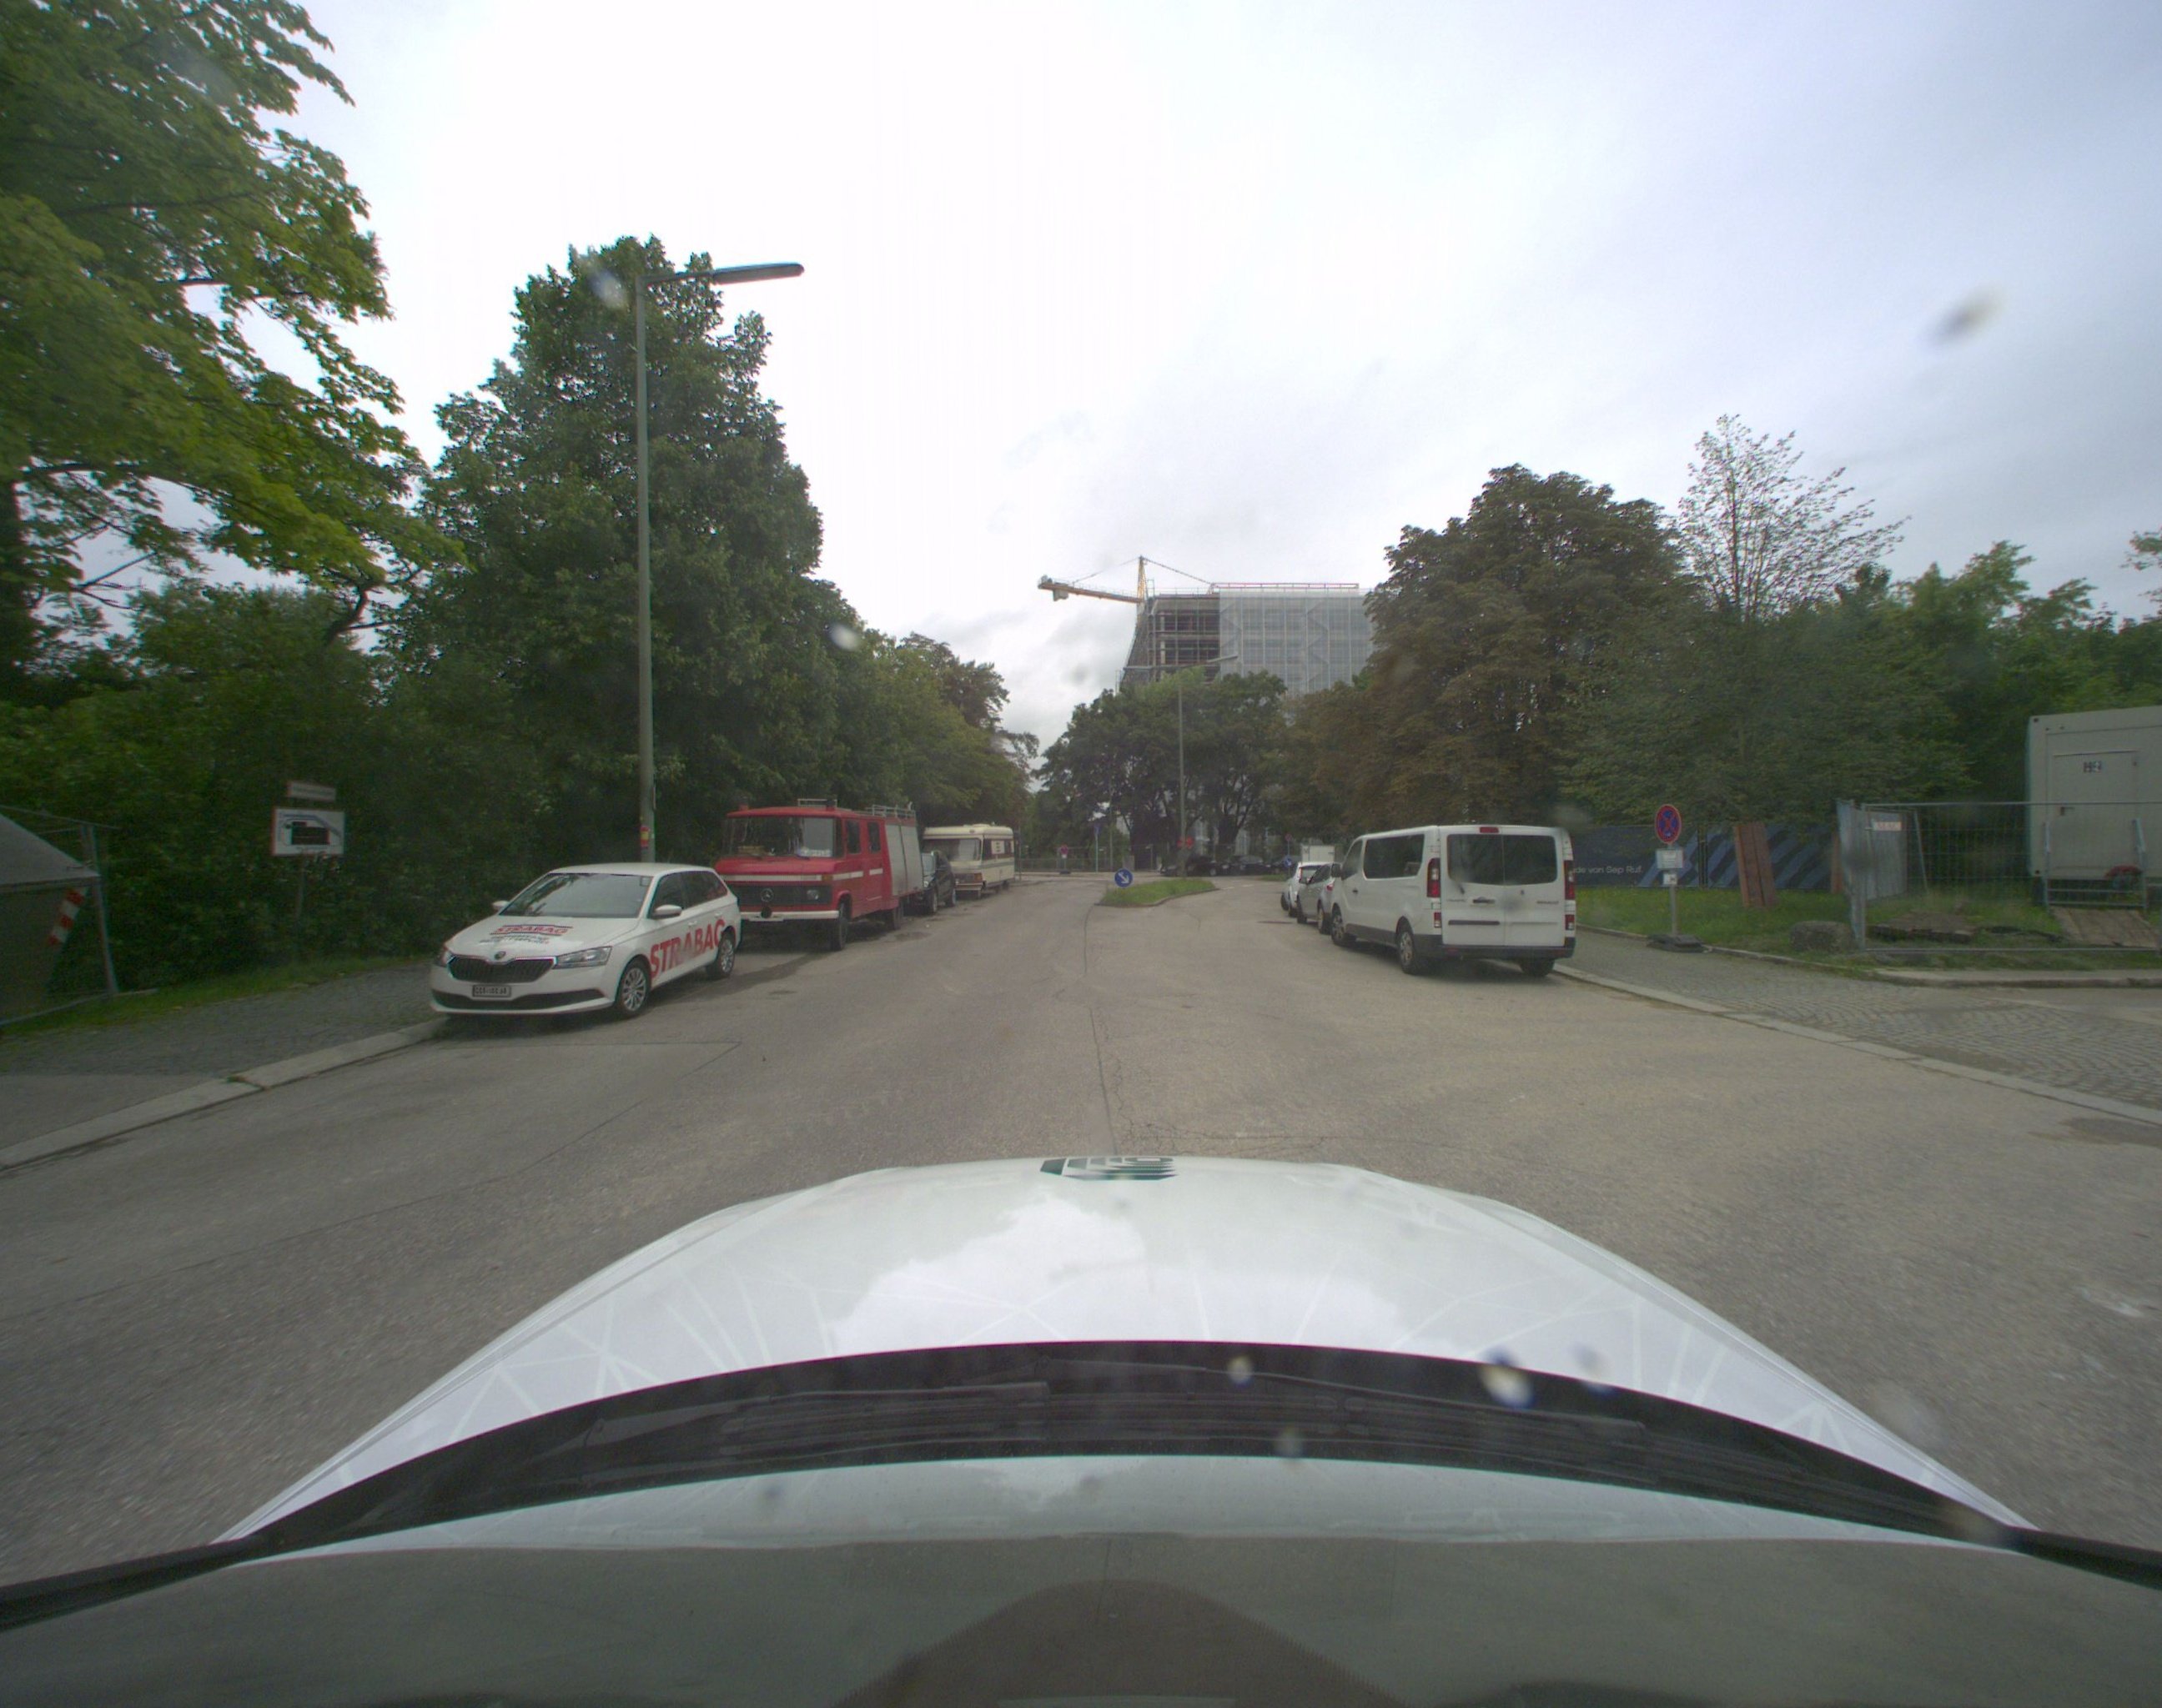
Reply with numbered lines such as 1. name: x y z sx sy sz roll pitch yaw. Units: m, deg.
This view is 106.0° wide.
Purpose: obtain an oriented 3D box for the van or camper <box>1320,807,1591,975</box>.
1. van or camper: 5.279 0.470 12.472 1.985 2.014 5.382 0 -1 4

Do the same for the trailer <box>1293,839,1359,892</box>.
1. trailer: 10.035 0.450 33.119 1.792 2.014 4.862 -1 -1 26

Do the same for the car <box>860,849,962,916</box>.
1. car: -4.552 0.697 22.432 1.770 1.649 4.461 -1 0 1

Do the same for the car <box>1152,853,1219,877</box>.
1. car: 6.997 0.718 54.568 4.052 1.432 1.983 0 2 -28

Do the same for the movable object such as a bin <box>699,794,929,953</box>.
1. movable object such as a bin: -4.735 0.308 15.760 2.095 2.458 6.191 -1 0 3

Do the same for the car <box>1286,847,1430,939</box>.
1. car: 5.802 0.756 17.651 1.984 1.728 4.456 0 -1 5

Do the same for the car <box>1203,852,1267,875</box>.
1. car: 10.687 0.659 56.523 4.010 1.541 1.982 0 0 -28

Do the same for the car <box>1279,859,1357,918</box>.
1. car: 6.621 0.896 23.101 1.755 1.486 4.234 -1 0 11

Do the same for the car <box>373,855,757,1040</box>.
1. car: -5.273 0.800 9.132 1.772 1.549 4.252 -1 0 -3

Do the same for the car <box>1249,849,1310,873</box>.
1. car: 14.463 0.492 59.201 4.010 1.706 1.982 0 -1 -28

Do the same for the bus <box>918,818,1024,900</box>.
1. bus: -3.873 0.163 29.881 2.302 2.699 5.748 -1 0 9
